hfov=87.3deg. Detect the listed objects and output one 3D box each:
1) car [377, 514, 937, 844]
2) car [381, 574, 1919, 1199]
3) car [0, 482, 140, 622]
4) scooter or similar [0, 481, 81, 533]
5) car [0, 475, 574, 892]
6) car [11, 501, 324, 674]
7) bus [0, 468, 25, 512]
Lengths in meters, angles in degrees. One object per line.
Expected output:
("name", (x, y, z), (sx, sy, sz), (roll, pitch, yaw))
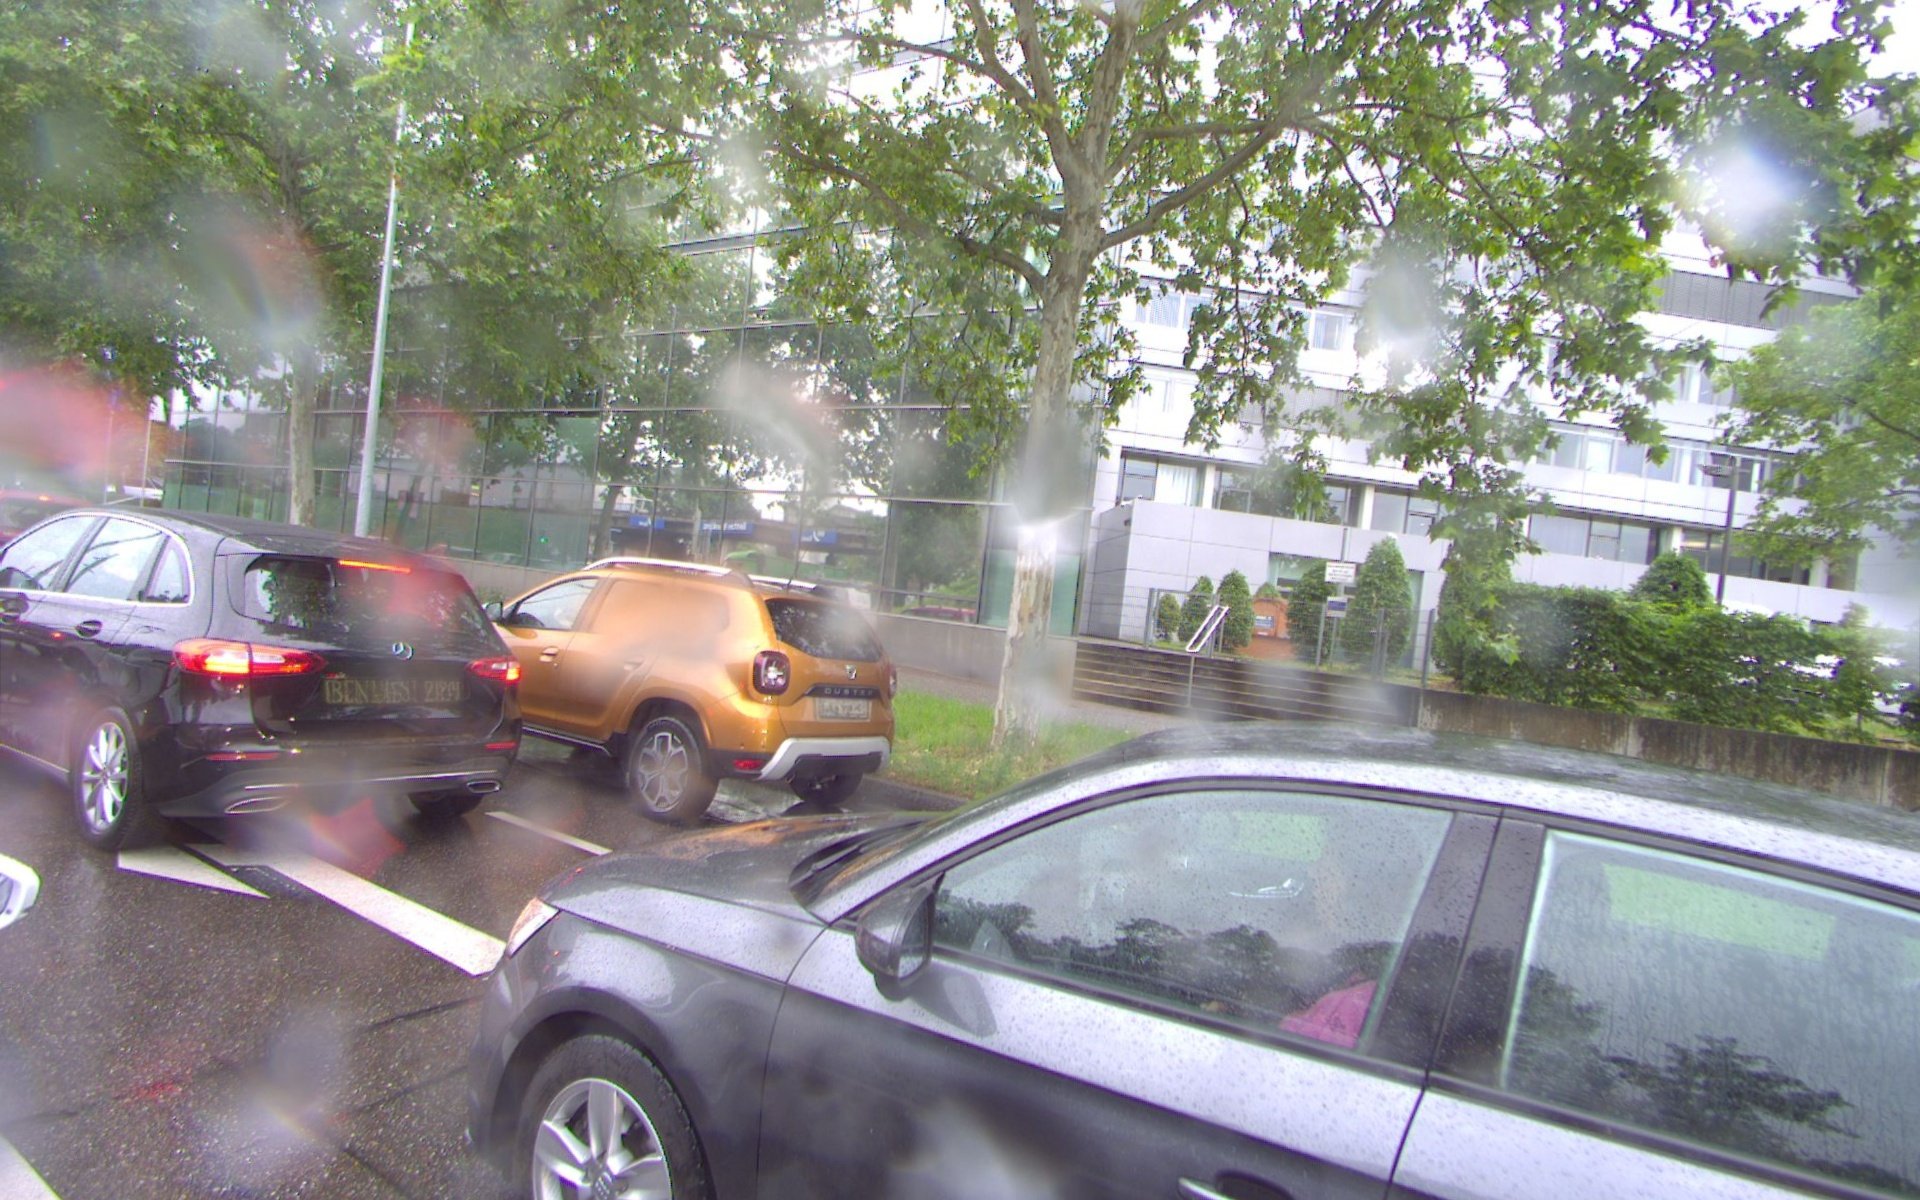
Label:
("car", (-2.431, 0.472, 7.755), (4.079, 1.704, 1.679), (8, -2, 32))
("car", (0.745, 0.919, 2.073), (3.718, 1.445, 1.679), (7, -1, 31))
("car", (-14.070, -0.804, 14.790), (4.201, 1.714, 1.714), (6, -2, 32))
("scooter or similar", (-54.526, -5.516, 58.139), (5.228, 2.476, 1.893), (7, 0, -9))
("car", (-4.341, 0.248, 5.752), (4.022, 1.573, 1.751), (7, -1, 31))
("car", (-8.977, -0.154, 11.360), (3.332, 1.480, 1.572), (7, -1, 31))
("bus", (-84.342, -9.814, 81.815), (2.437, 3.465, 12.005), (7, 0, 22))
